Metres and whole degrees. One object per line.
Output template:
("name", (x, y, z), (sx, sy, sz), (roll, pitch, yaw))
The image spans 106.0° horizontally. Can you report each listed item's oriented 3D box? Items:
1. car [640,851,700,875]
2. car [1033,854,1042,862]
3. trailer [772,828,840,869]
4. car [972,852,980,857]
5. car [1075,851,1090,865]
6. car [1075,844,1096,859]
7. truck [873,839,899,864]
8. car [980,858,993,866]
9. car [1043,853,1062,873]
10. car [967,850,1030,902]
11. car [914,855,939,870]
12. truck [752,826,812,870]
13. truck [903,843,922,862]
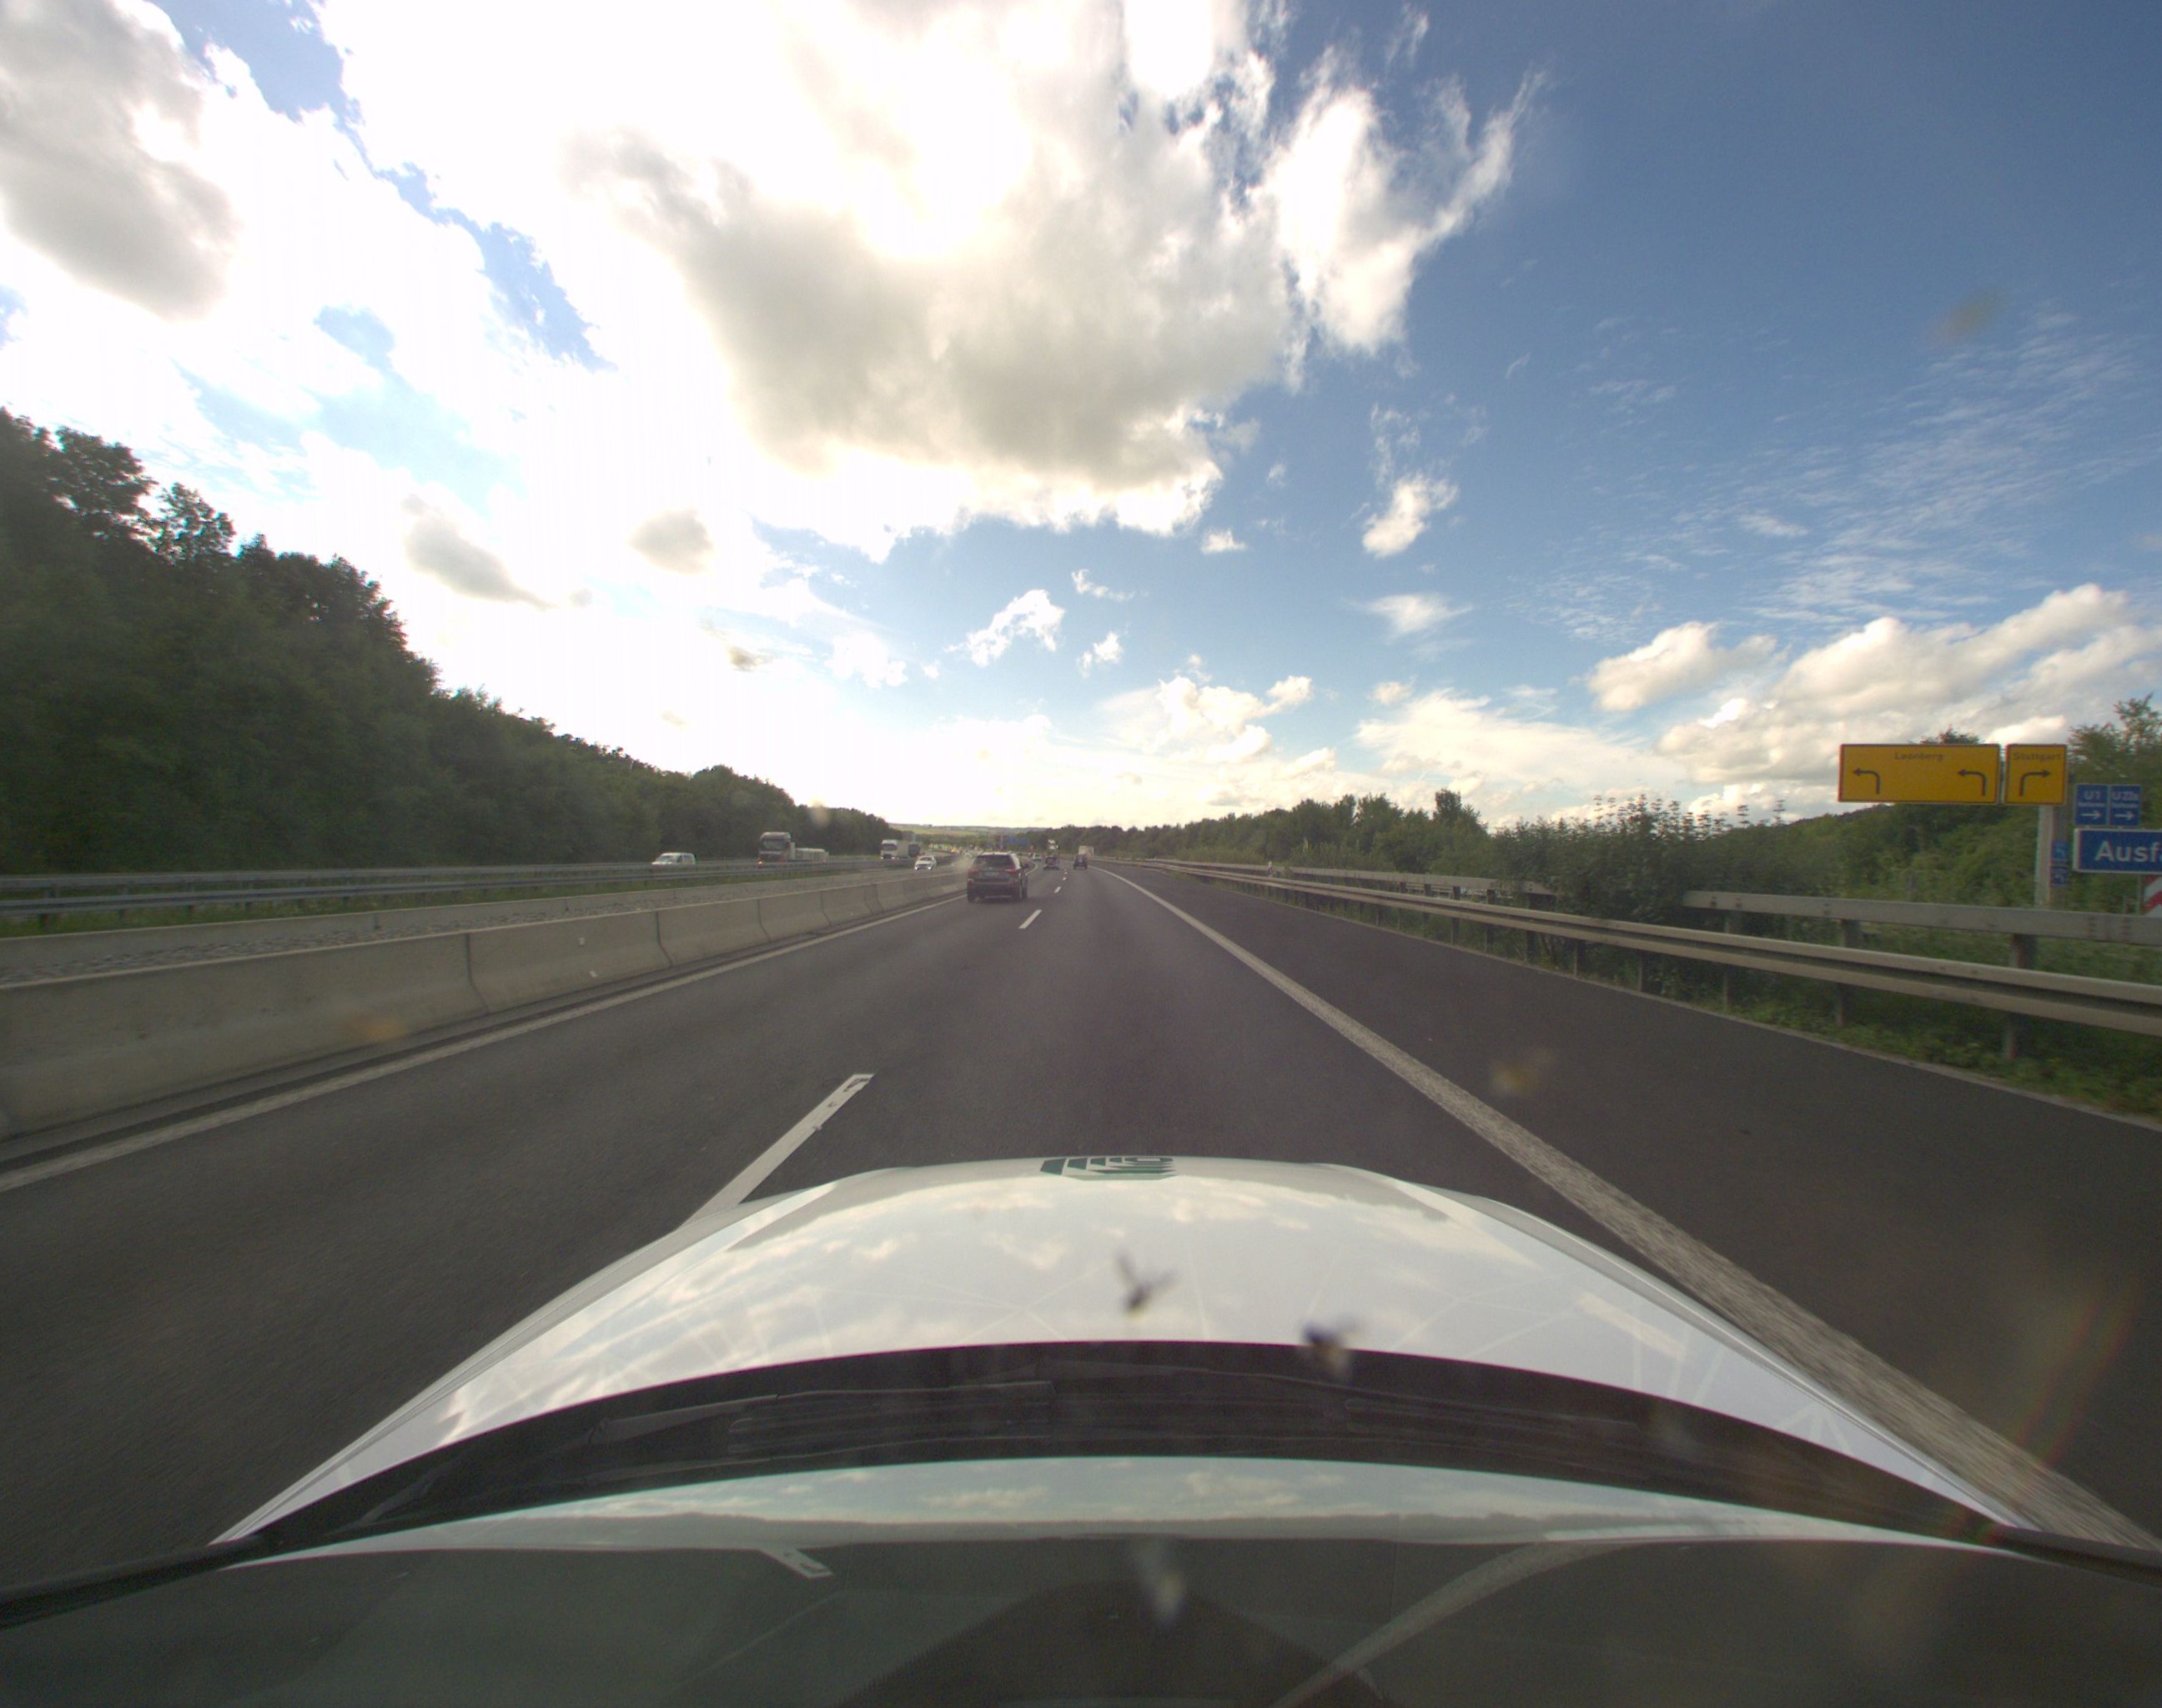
("car", (-33.162, 0.770, 65.897), (1.986, 1.855, 5.263), (0, -1, 2))
("car", (-10.067, 0.874, 189.147), (1.991, 1.684, 3.991), (0, -1, -6))
("trailer", (-27.508, -0.485, 82.194), (2.804, 3.807, 12.185), (0, 0, 0))
("car", (-32.503, 0.094, 252.144), (1.990, 1.402, 4.805), (-1, 0, -5))
("car", (0.180, 0.466, 96.343), (1.583, 1.597, 4.091), (0, 0, -3))
("car", (1.368, -0.744, 255.549), (4.729, 4.266, 11.362), (0, -1, -10))
("truck", (-34.196, -0.347, 143.010), (3.315, 4.293, 6.736), (0, -1, -5))
("car", (-18.083, 1.474, 156.099), (1.869, 1.447, 5.118), (0, -1, -1))
("car", (-3.318, 1.022, 94.404), (2.024, 2.151, 4.000), (0, 0, 0))
("car", (-2.937, 0.764, 29.848), (1.812, 1.736, 5.184), (0, -1, -1))
("car", (-15.802, 0.881, 83.561), (1.707, 1.528, 4.765), (0, -1, 0))
("truck", (-27.516, -0.511, 75.302), (2.800, 3.826, 7.128), (0, 0, 0))
("truck", (-36.600, -0.257, 177.084), (2.897, 3.969, 10.445), (0, -1, -5))
